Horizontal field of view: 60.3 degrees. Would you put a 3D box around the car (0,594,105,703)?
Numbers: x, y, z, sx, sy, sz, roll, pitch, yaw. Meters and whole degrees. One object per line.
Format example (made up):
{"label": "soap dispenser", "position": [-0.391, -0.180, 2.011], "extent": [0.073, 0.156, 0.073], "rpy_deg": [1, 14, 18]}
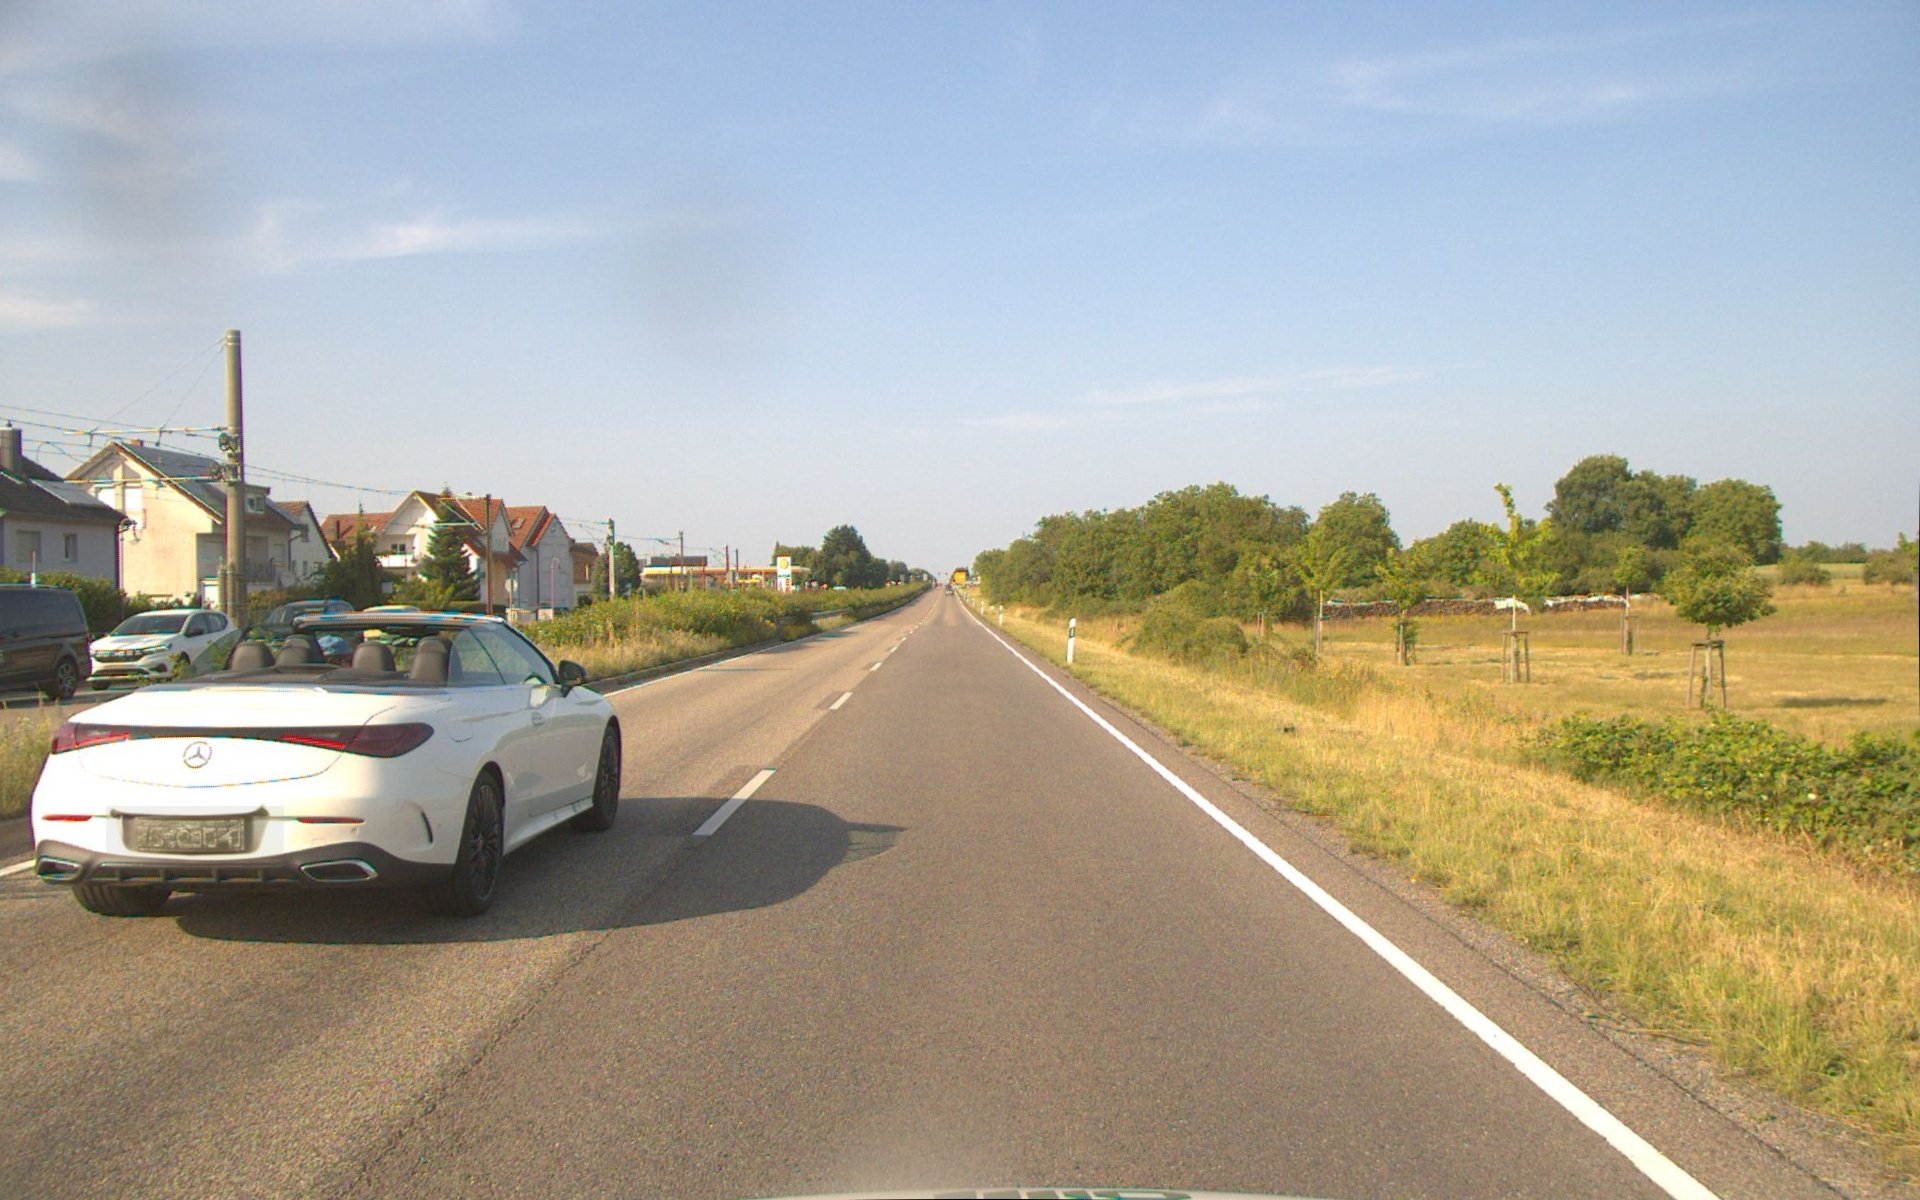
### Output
{"label": "car", "position": [-15.960, 0.799, 26.427], "extent": [1.876, 1.712, 5.253], "rpy_deg": [-2, 0, -1]}

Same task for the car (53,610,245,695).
{"label": "car", "position": [-15.973, 0.984, 32.839], "extent": [1.626, 1.456, 4.448], "rpy_deg": [-2, 0, -1]}

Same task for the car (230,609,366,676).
{"label": "car", "position": [-16.274, 1.016, 40.880], "extent": [1.626, 1.456, 4.325], "rpy_deg": [-2, 0, -1]}

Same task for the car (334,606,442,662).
{"label": "car", "position": [-16.526, 0.941, 47.967], "extent": [1.626, 1.456, 4.325], "rpy_deg": [-2, 0, -1]}

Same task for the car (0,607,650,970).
{"label": "car", "position": [-3.015, 0.748, 8.941], "extent": [1.735, 1.361, 4.950], "rpy_deg": [1, 0, 0]}
